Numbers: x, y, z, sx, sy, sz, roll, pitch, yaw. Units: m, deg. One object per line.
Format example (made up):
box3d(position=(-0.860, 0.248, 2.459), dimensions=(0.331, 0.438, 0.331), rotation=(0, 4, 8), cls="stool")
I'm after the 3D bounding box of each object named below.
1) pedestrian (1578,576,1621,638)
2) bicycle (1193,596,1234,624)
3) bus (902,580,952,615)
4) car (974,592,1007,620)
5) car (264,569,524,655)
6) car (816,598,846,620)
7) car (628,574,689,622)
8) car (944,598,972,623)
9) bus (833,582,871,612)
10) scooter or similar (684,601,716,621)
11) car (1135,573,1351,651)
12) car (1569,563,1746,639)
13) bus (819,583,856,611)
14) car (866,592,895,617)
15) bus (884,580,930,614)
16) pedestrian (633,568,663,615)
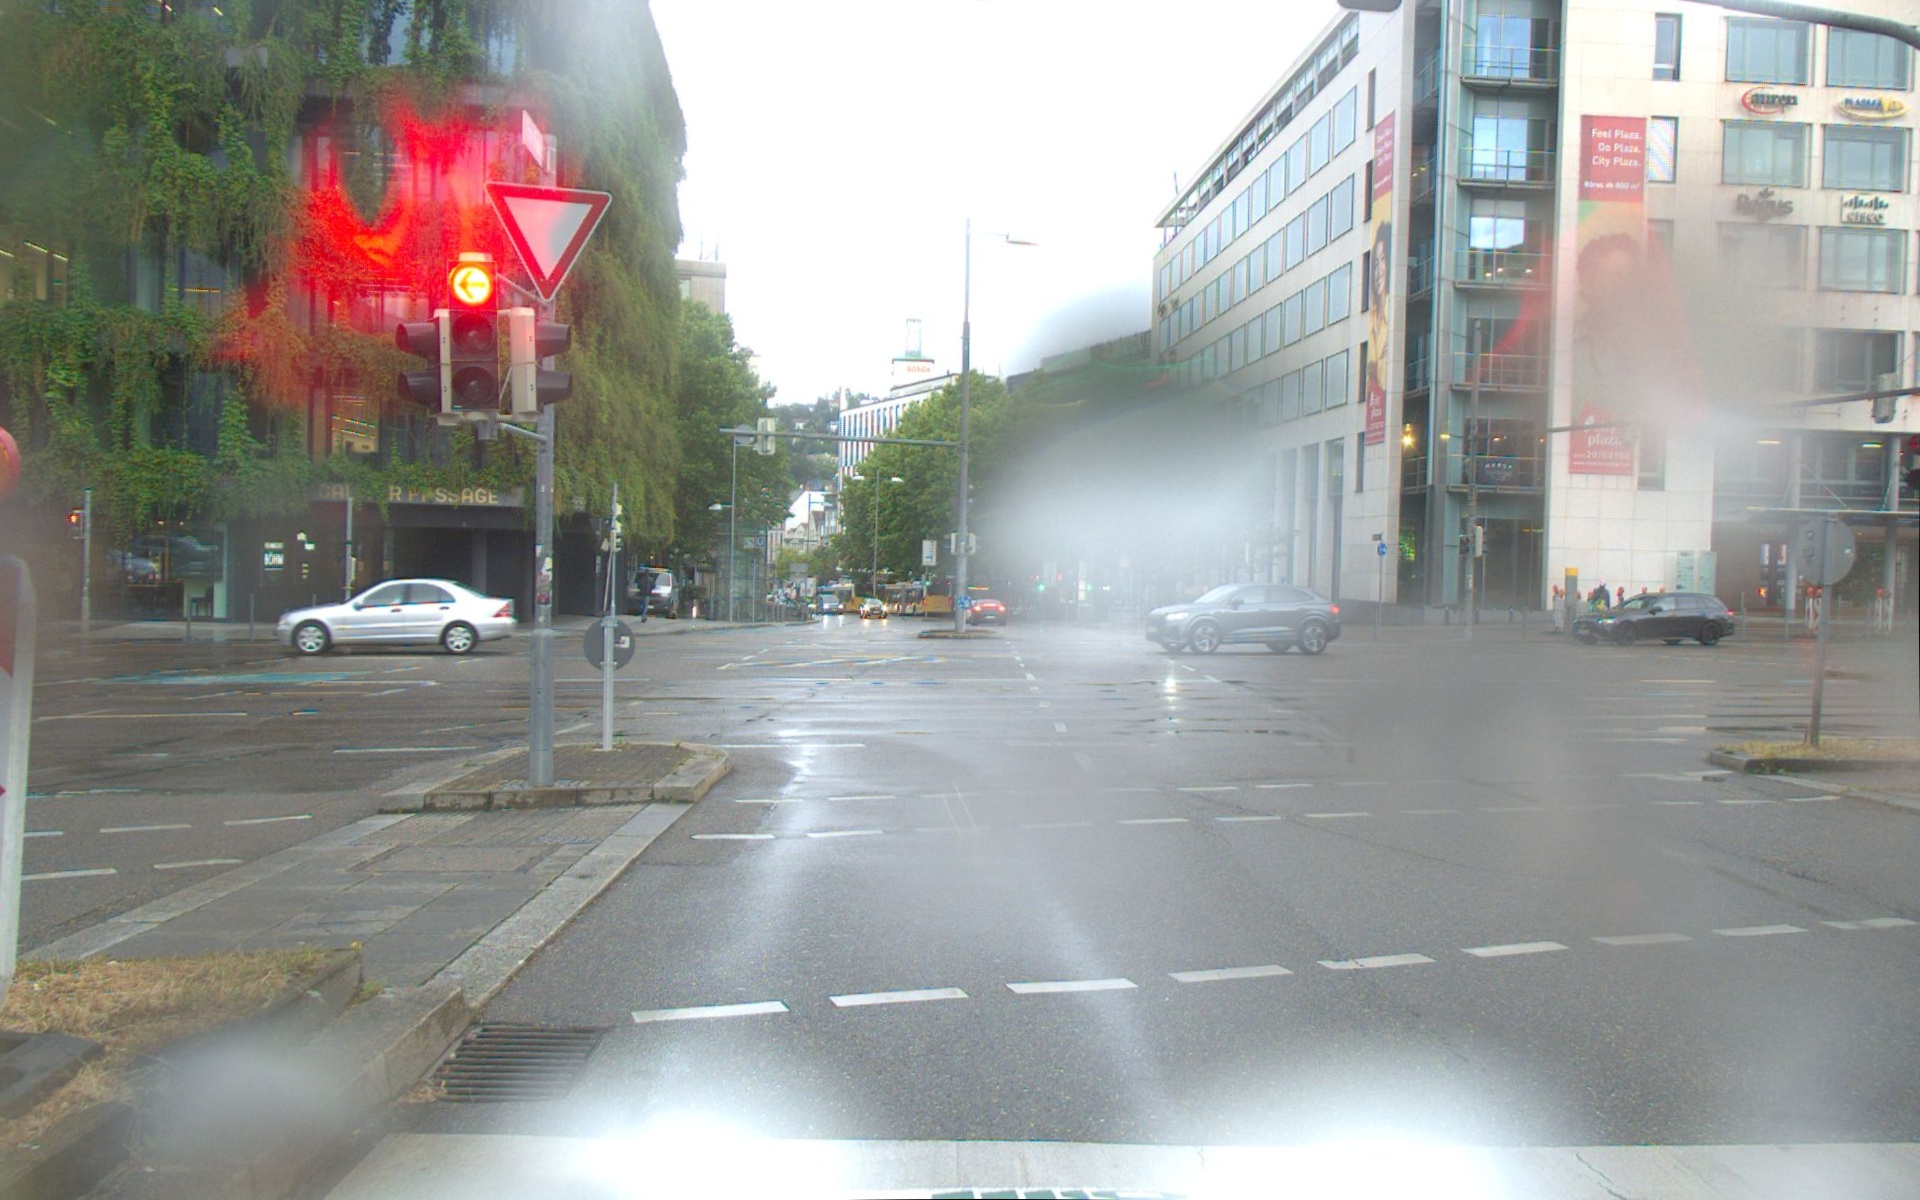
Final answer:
box3d(position=(19.290, 0.216, 49.920), dimensions=(0.942, 1.848, 0.836), rotation=(1, -1, -1), cls="pedestrian")
box3d(position=(11.424, 0.436, 74.486), dimensions=(1.741, 1.215, 0.586), rotation=(1, -1, 1), cls="bicycle")
box3d(position=(-2.970, -0.258, 145.892), dimensions=(2.585, 3.048, 7.417), rotation=(0, 0, -16), cls="bus")
box3d(position=(1.708, 0.349, 93.518), dimensions=(1.745, 1.534, 3.999), rotation=(1, 0, -1), cls="car")
box3d(position=(-10.904, 0.223, 32.235), dimensions=(4.640, 1.502, 1.993), rotation=(0, 3, -15), cls="car")
box3d(position=(-11.324, 0.777, 144.736), dimensions=(2.125, 1.796, 4.817), rotation=(-1, 0, -11), cls="car")
box3d(position=(-12.386, -0.081, 68.134), dimensions=(1.832, 1.871, 3.999), rotation=(1, 0, -1), cls="car")
box3d(position=(-0.137, 0.684, 106.707), dimensions=(1.745, 1.534, 3.999), rotation=(1, 0, -1), cls="car")
box3d(position=(-11.345, -0.311, 173.057), dimensions=(2.585, 3.048, 7.296), rotation=(0, 0, -16), cls="bus")
box3d(position=(-12.933, 0.542, 82.334), dimensions=(0.612, 1.022, 1.653), rotation=(1, 0, 37), cls="scooter or similar")
box3d(position=(6.298, 0.276, 36.849), dimensions=(4.402, 1.637, 1.823), rotation=(1, 0, -17), cls="car")
box3d(position=(19.874, 0.036, 47.143), dimensions=(4.569, 2.049, 1.545), rotation=(1, 0, -11), cls="car")
box3d(position=(-13.342, -0.358, 180.124), dimensions=(2.585, 3.048, 7.417), rotation=(0, 0, -16), cls="bus")
box3d(position=(-6.104, 0.353, 126.704), dimensions=(2.121, 1.796, 5.108), rotation=(-1, 0, -4), cls="car")
box3d(position=(-4.967, -0.283, 153.008), dimensions=(2.585, 3.048, 7.417), rotation=(0, 0, -16), cls="bus")
box3d(position=(-11.343, -0.318, 60.075), dimensions=(0.915, 1.673, 0.774), rotation=(1, -1, -1), cls="pedestrian")
